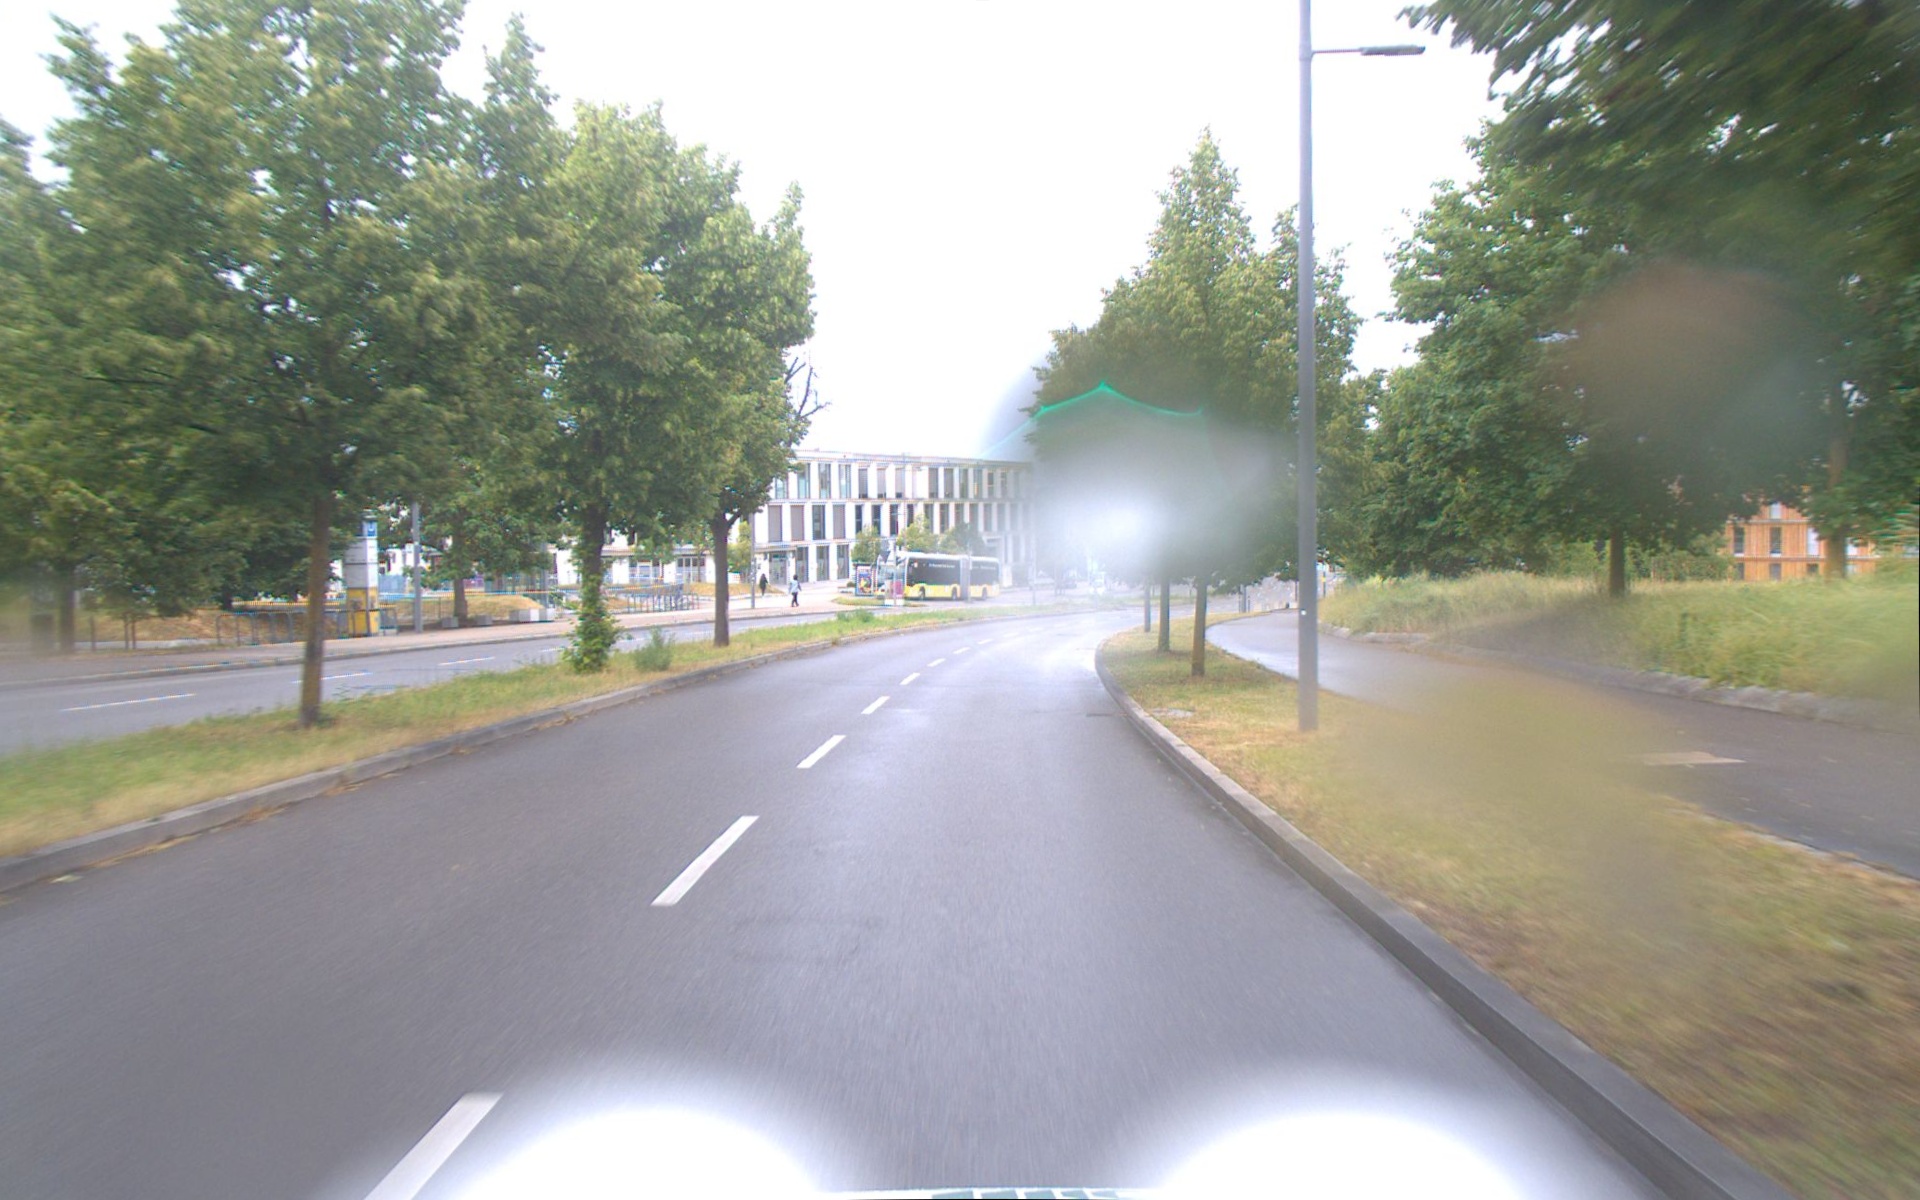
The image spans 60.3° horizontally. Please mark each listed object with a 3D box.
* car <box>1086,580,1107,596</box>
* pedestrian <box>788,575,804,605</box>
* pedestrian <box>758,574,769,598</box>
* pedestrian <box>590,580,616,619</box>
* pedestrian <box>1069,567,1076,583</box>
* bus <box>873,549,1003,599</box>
[{"bbox_3d":[13.555,-1.213,164.588,1.448,1.520,2.530,0,0,21],"label":"car"},{"bbox_3d":[-8.671,-0.521,87.387,0.818,1.601,0.718,0,-1,-9],"label":"pedestrian"},{"bbox_3d":[-13.128,-0.928,110.563,0.668,1.551,0.719,0,-1,-2],"label":"pedestrian"},{"bbox_3d":[-15.095,-0.007,69.927,0.796,1.649,0.936,0,-1,8],"label":"pedestrian"},{"bbox_3d":[13.042,-2.884,191.019,0.733,1.885,0.838,0,-1,-2],"label":"pedestrian"},{"bbox_3d":[-1.378,-1.830,124.737,2.728,3.416,18.220,0,-1,23],"label":"bus"}]
